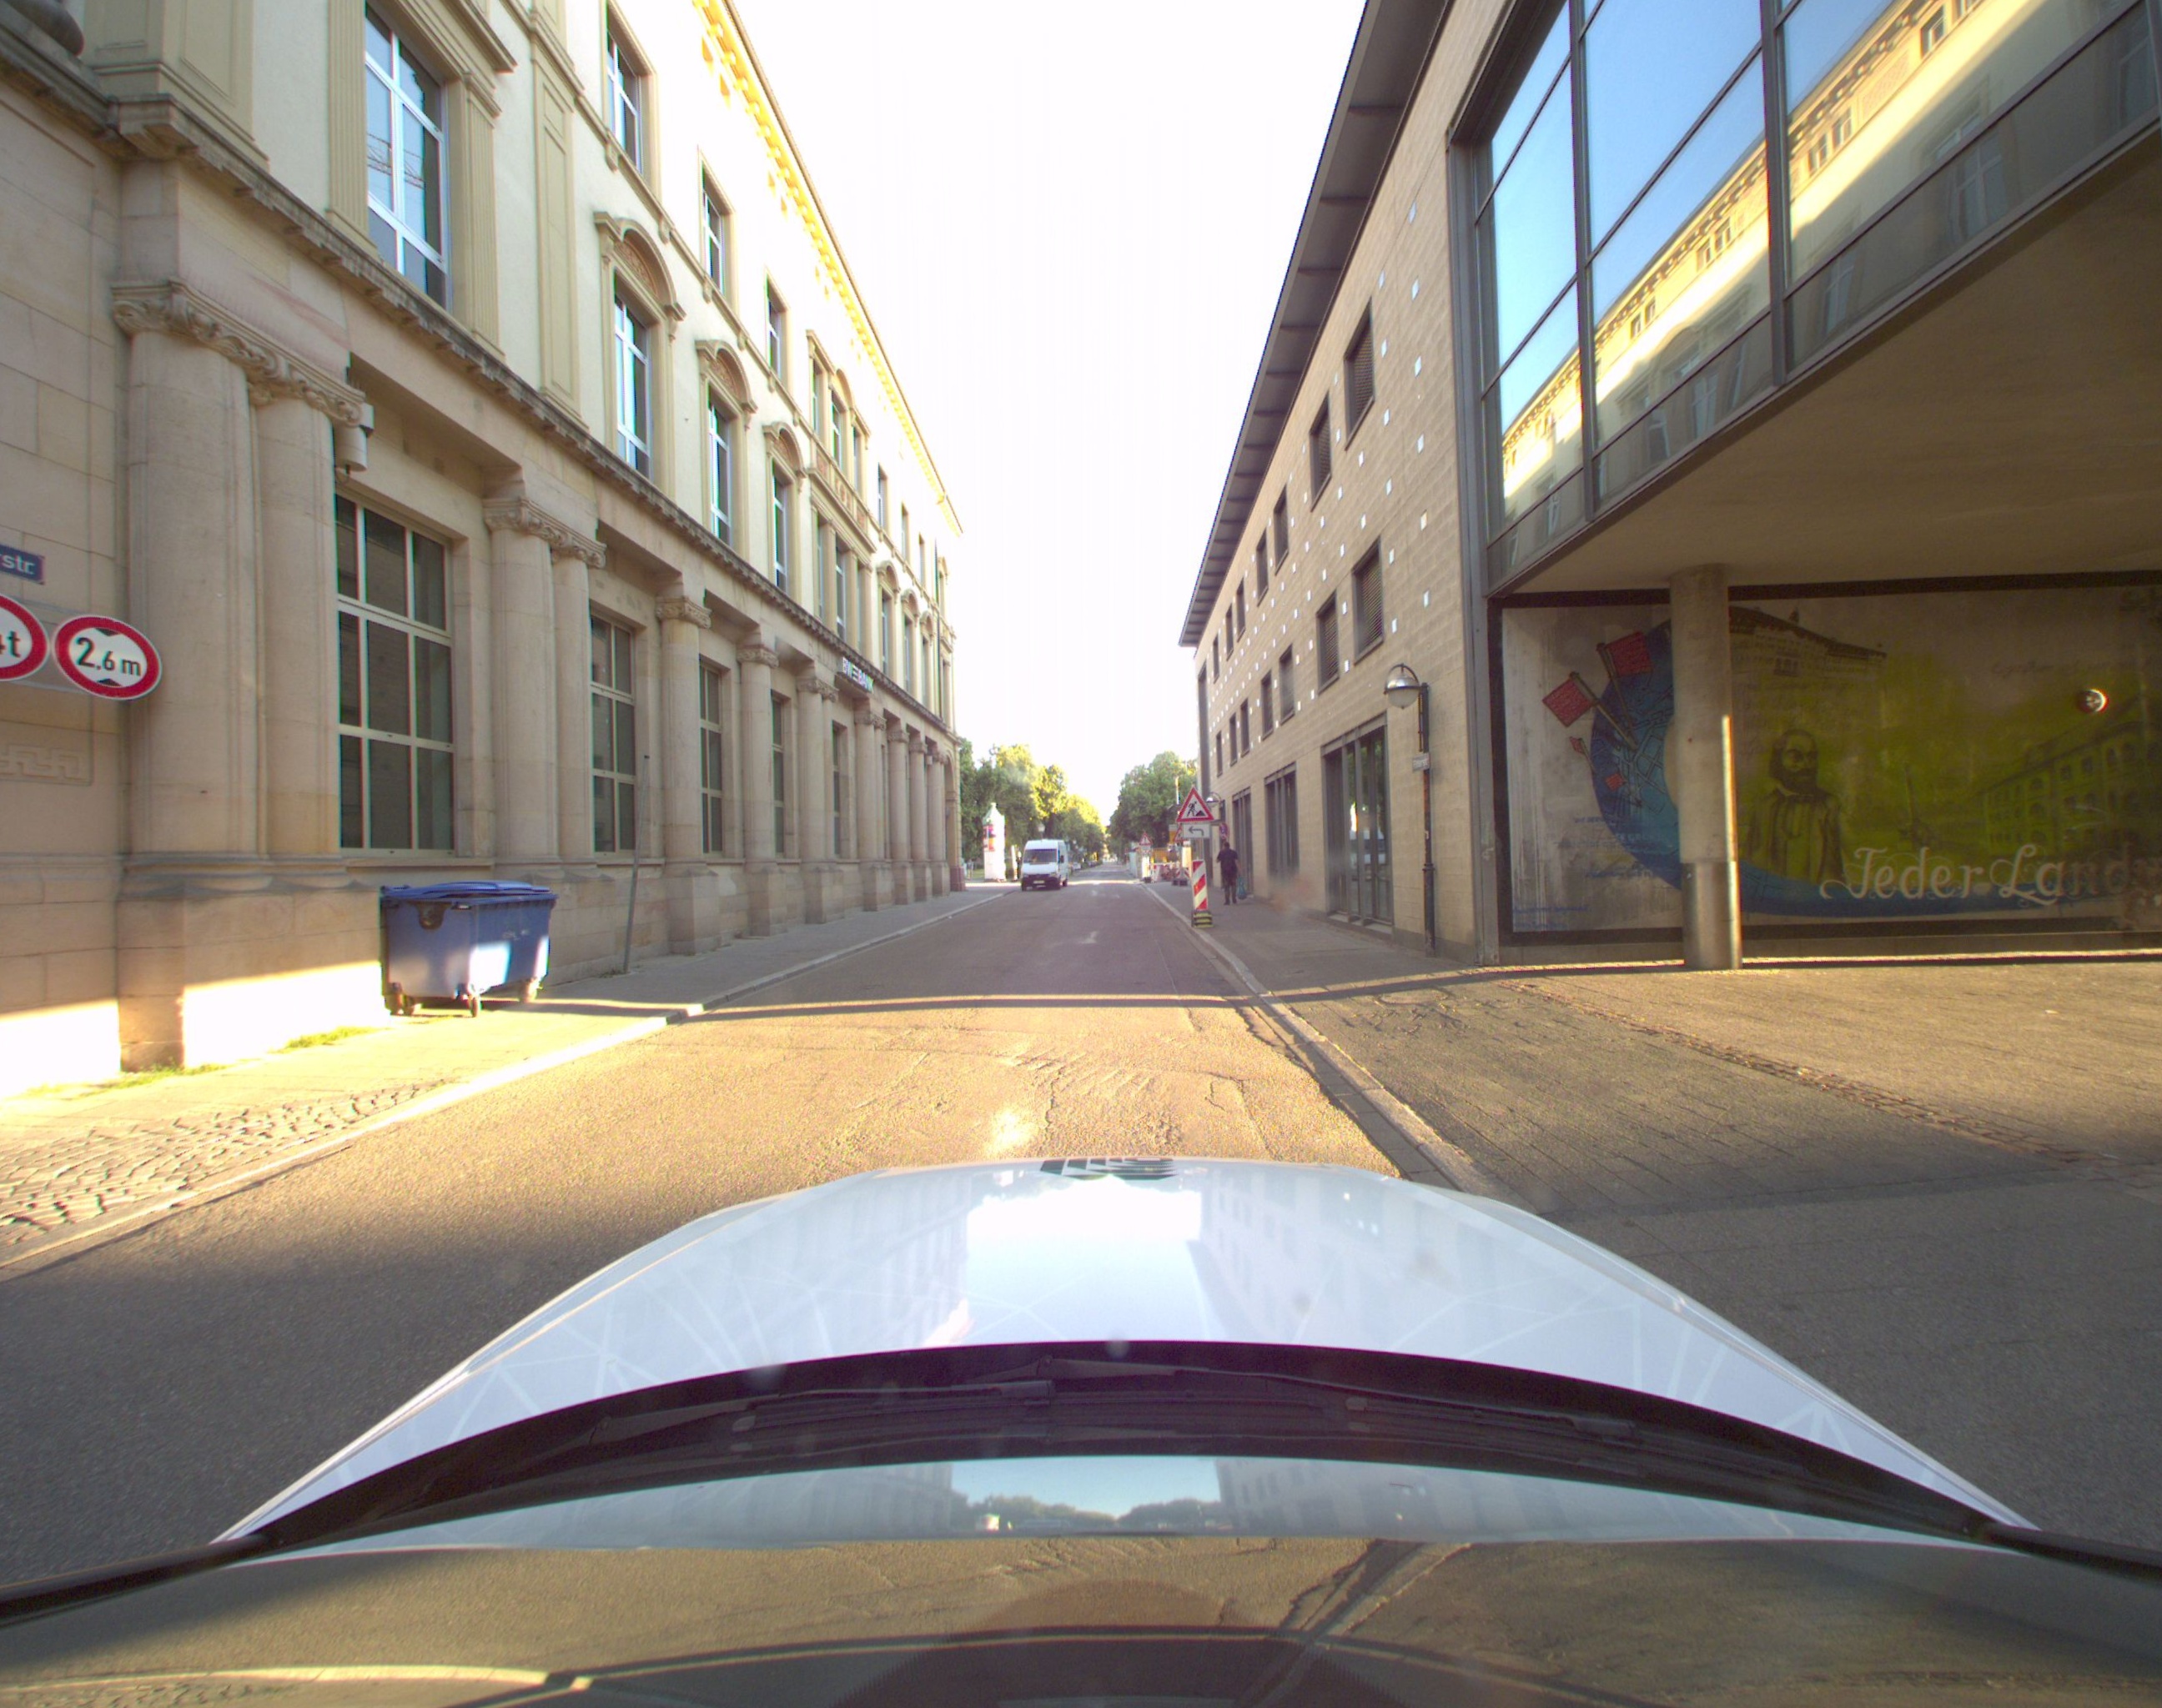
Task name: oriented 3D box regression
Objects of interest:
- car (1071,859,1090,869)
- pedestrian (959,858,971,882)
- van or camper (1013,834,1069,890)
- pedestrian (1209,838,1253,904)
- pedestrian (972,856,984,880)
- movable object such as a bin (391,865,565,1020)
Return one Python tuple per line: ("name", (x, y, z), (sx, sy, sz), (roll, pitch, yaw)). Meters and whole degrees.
("car", (-0.090, 2.002, 161.208), (3.539, 1.783, 1.795), (-3, -1, 11))
("pedestrian", (-9.025, 1.257, 63.306), (0.850, 1.807, 0.661), (-1, -1, -11))
("van or camper", (-1.940, 0.372, 41.701), (2.210, 2.585, 6.376), (-2, 0, 2))
("pedestrian", (4.264, 0.488, 23.226), (0.997, 1.803, 0.882), (-3, -1, 1))
("pedestrian", (-8.034, 1.098, 63.585), (0.850, 1.807, 0.661), (-1, -1, -11))
("movable object such as a bin", (-6.391, 0.883, 8.724), (0.825, 1.503, 1.292), (-1, 0, 3))
